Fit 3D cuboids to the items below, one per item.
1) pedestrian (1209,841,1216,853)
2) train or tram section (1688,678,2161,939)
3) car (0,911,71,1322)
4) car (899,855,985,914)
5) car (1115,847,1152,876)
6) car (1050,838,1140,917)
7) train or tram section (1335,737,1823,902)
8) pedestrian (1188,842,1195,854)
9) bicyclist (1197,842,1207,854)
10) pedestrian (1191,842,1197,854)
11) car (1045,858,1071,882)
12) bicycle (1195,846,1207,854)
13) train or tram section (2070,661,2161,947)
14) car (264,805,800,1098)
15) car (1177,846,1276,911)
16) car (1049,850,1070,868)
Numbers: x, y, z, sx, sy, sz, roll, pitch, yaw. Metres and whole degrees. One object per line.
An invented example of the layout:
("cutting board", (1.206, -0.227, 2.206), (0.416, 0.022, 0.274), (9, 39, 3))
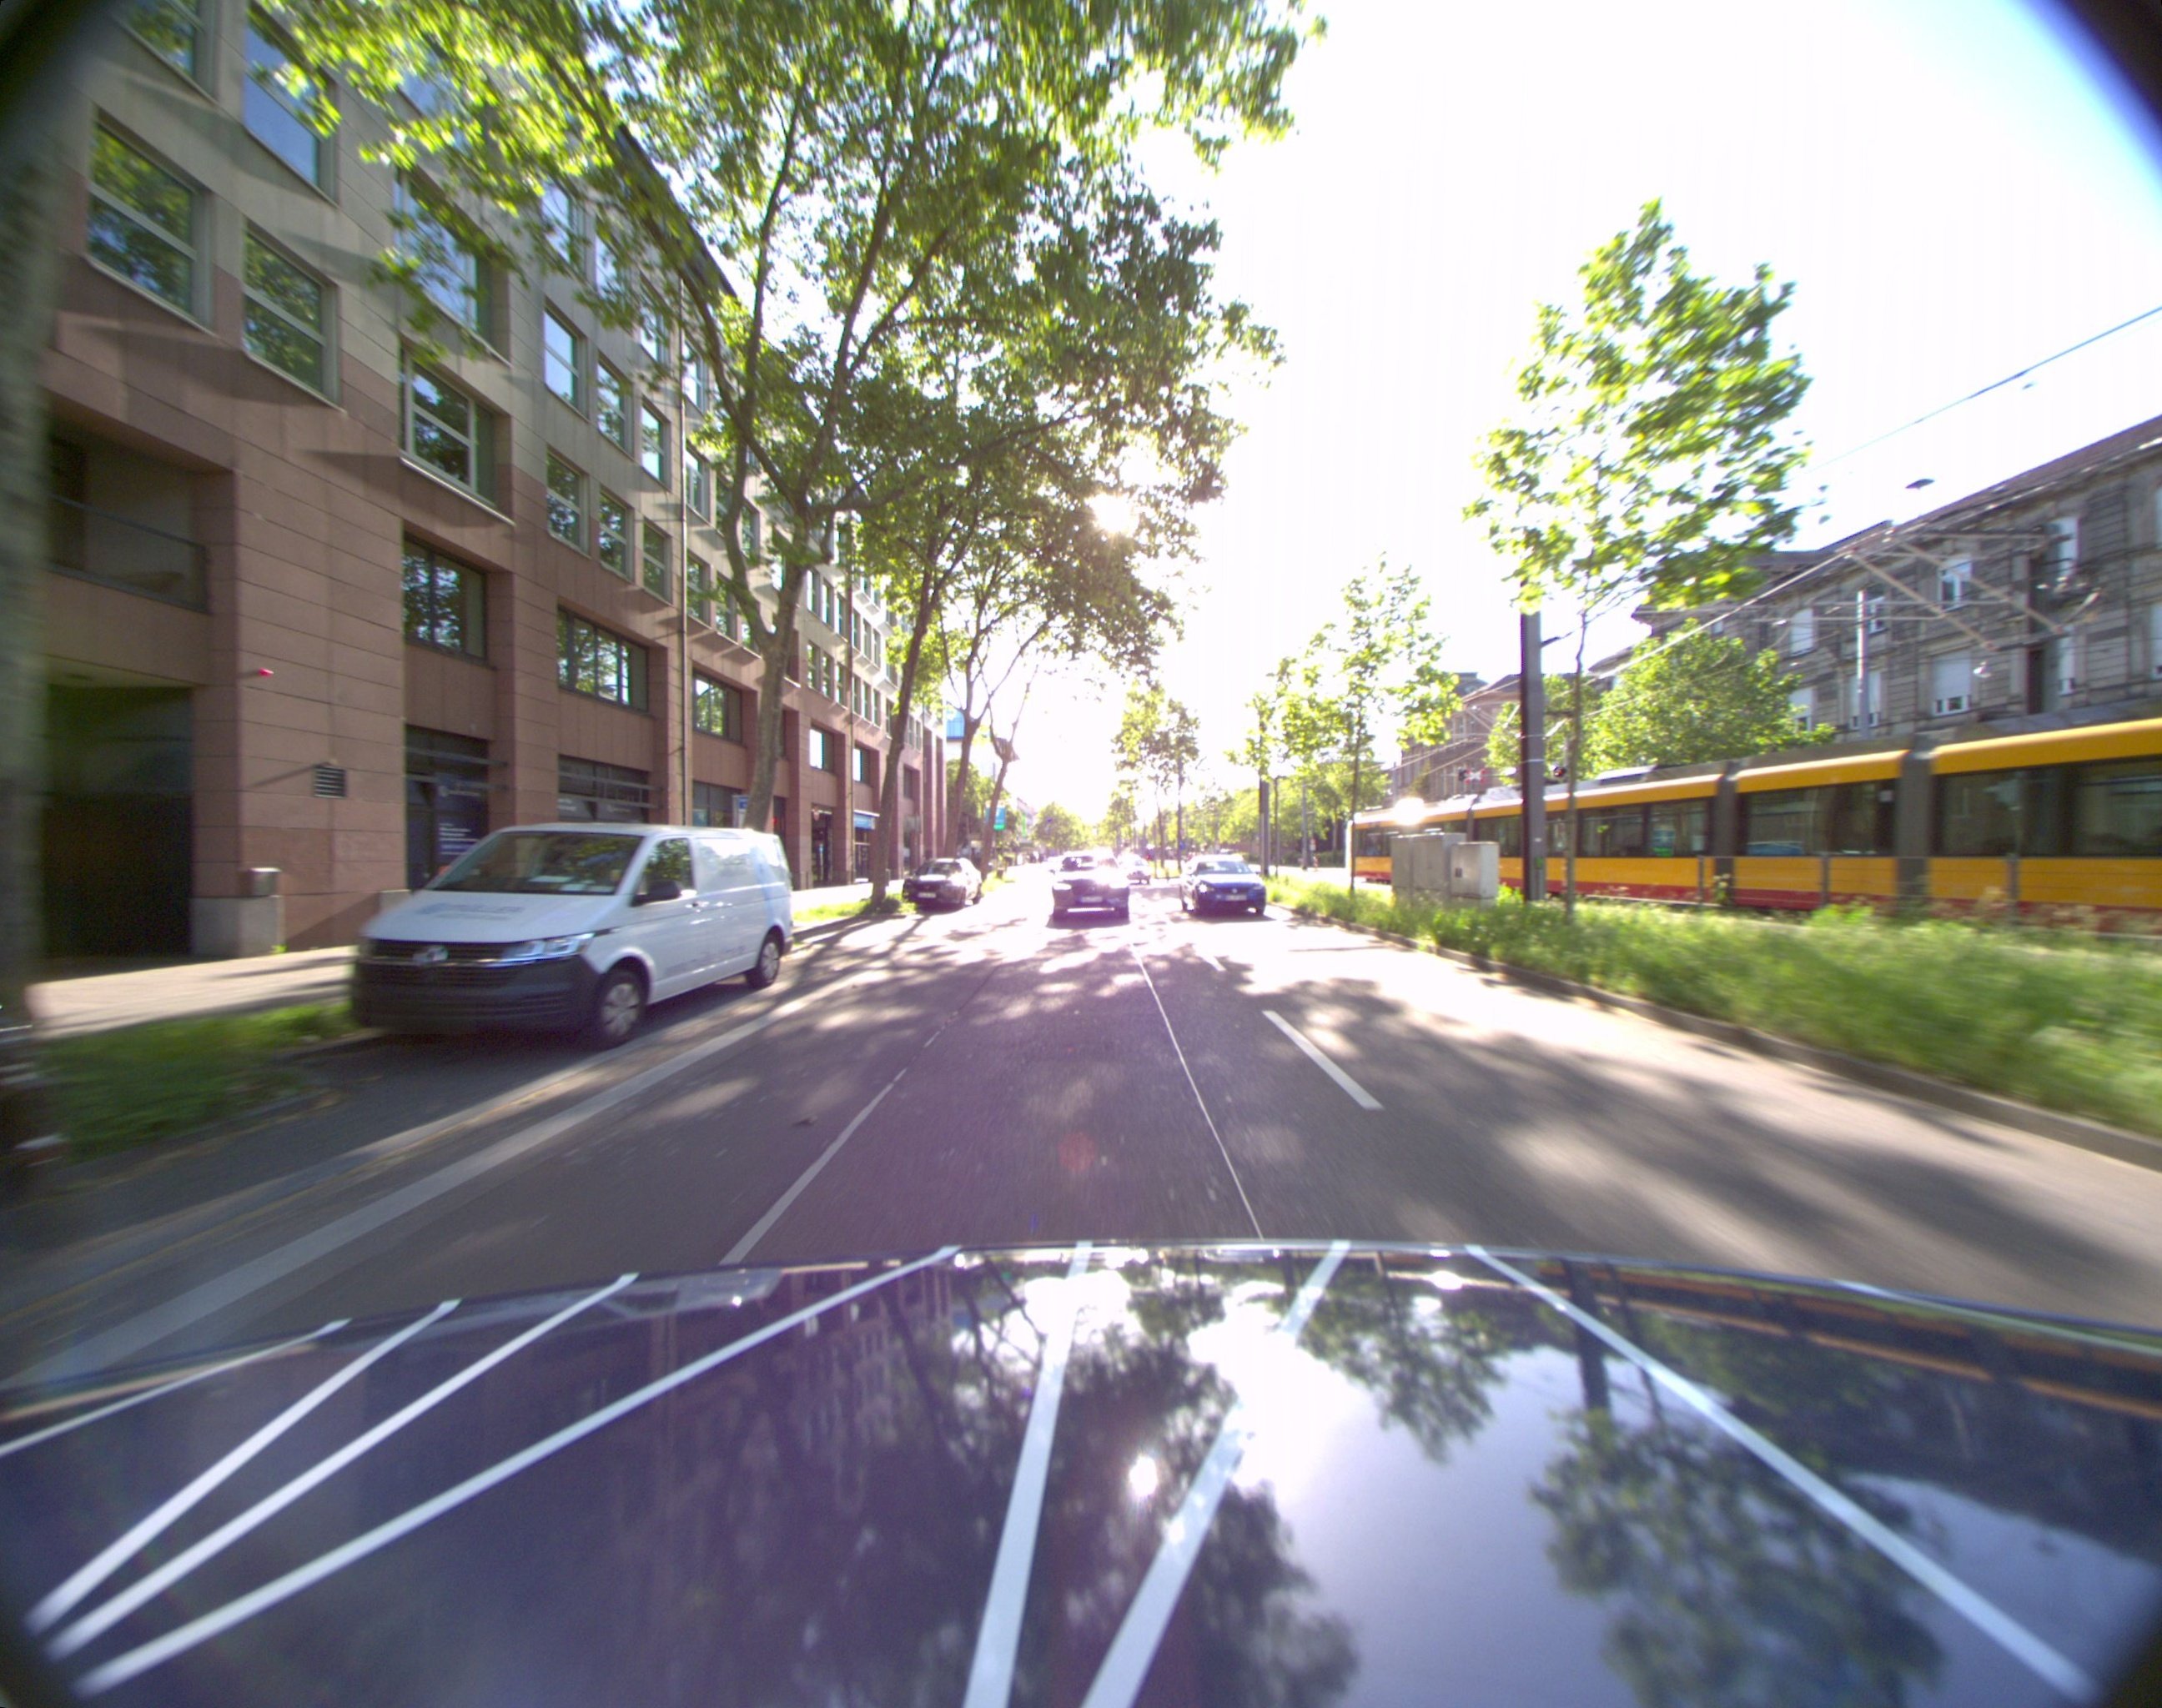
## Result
("pedestrian", (18.742, -0.957, 108.116), (0.595, 1.612, 0.698), (-3, 2, -31))
("train or tram section", (14.557, -0.659, 13.233), (2.964, 3.463, 6.058), (-2, 1, -2))
("car", (-4.926, 1.045, 0.626), (1.823, 1.506, 4.707), (-2, 1, 0))
("car", (-4.253, 0.878, 23.893), (1.672, 1.561, 4.280), (-2, 1, 2))
("car", (2.859, 0.365, 41.831), (1.798, 1.420, 4.000), (-2, 1, 1))
("car", (0.307, 0.488, 19.190), (1.949, 1.690, 5.305), (-1, 1, 0))
("train or tram section", (14.269, -0.840, 26.945), (2.971, 3.463, 21.212), (-2, 1, -1))
("pedestrian", (16.340, -0.891, 112.115), (0.595, 1.735, 0.698), (-3, 2, -31))
("bicyclist", (16.985, -0.873, 106.903), (0.970, 1.634, 0.833), (-3, 2, -31))
("pedestrian", (16.515, -0.883, 111.132), (0.595, 1.667, 0.698), (-3, 2, -31))
("car", (-1.563, 1.066, 51.001), (1.605, 1.387, 3.998), (-2, 1, -2))
("bicycle", (16.936, -0.590, 107.015), (1.666, 1.036, 0.543), (-2, 2, -30))
("train or tram section", (14.723, -0.605, 4.460), (2.969, 3.463, 11.284), (-2, 1, -2))
("car", (-4.741, 0.659, 7.721), (1.861, 2.002, 4.723), (-2, 1, 1))
("car", (3.660, 0.557, 19.758), (1.778, 1.440, 3.868), (-3, 1, 0))
("car", (-2.072, 0.461, 74.627), (1.833, 1.609, 3.999), (-2, 1, 0))
